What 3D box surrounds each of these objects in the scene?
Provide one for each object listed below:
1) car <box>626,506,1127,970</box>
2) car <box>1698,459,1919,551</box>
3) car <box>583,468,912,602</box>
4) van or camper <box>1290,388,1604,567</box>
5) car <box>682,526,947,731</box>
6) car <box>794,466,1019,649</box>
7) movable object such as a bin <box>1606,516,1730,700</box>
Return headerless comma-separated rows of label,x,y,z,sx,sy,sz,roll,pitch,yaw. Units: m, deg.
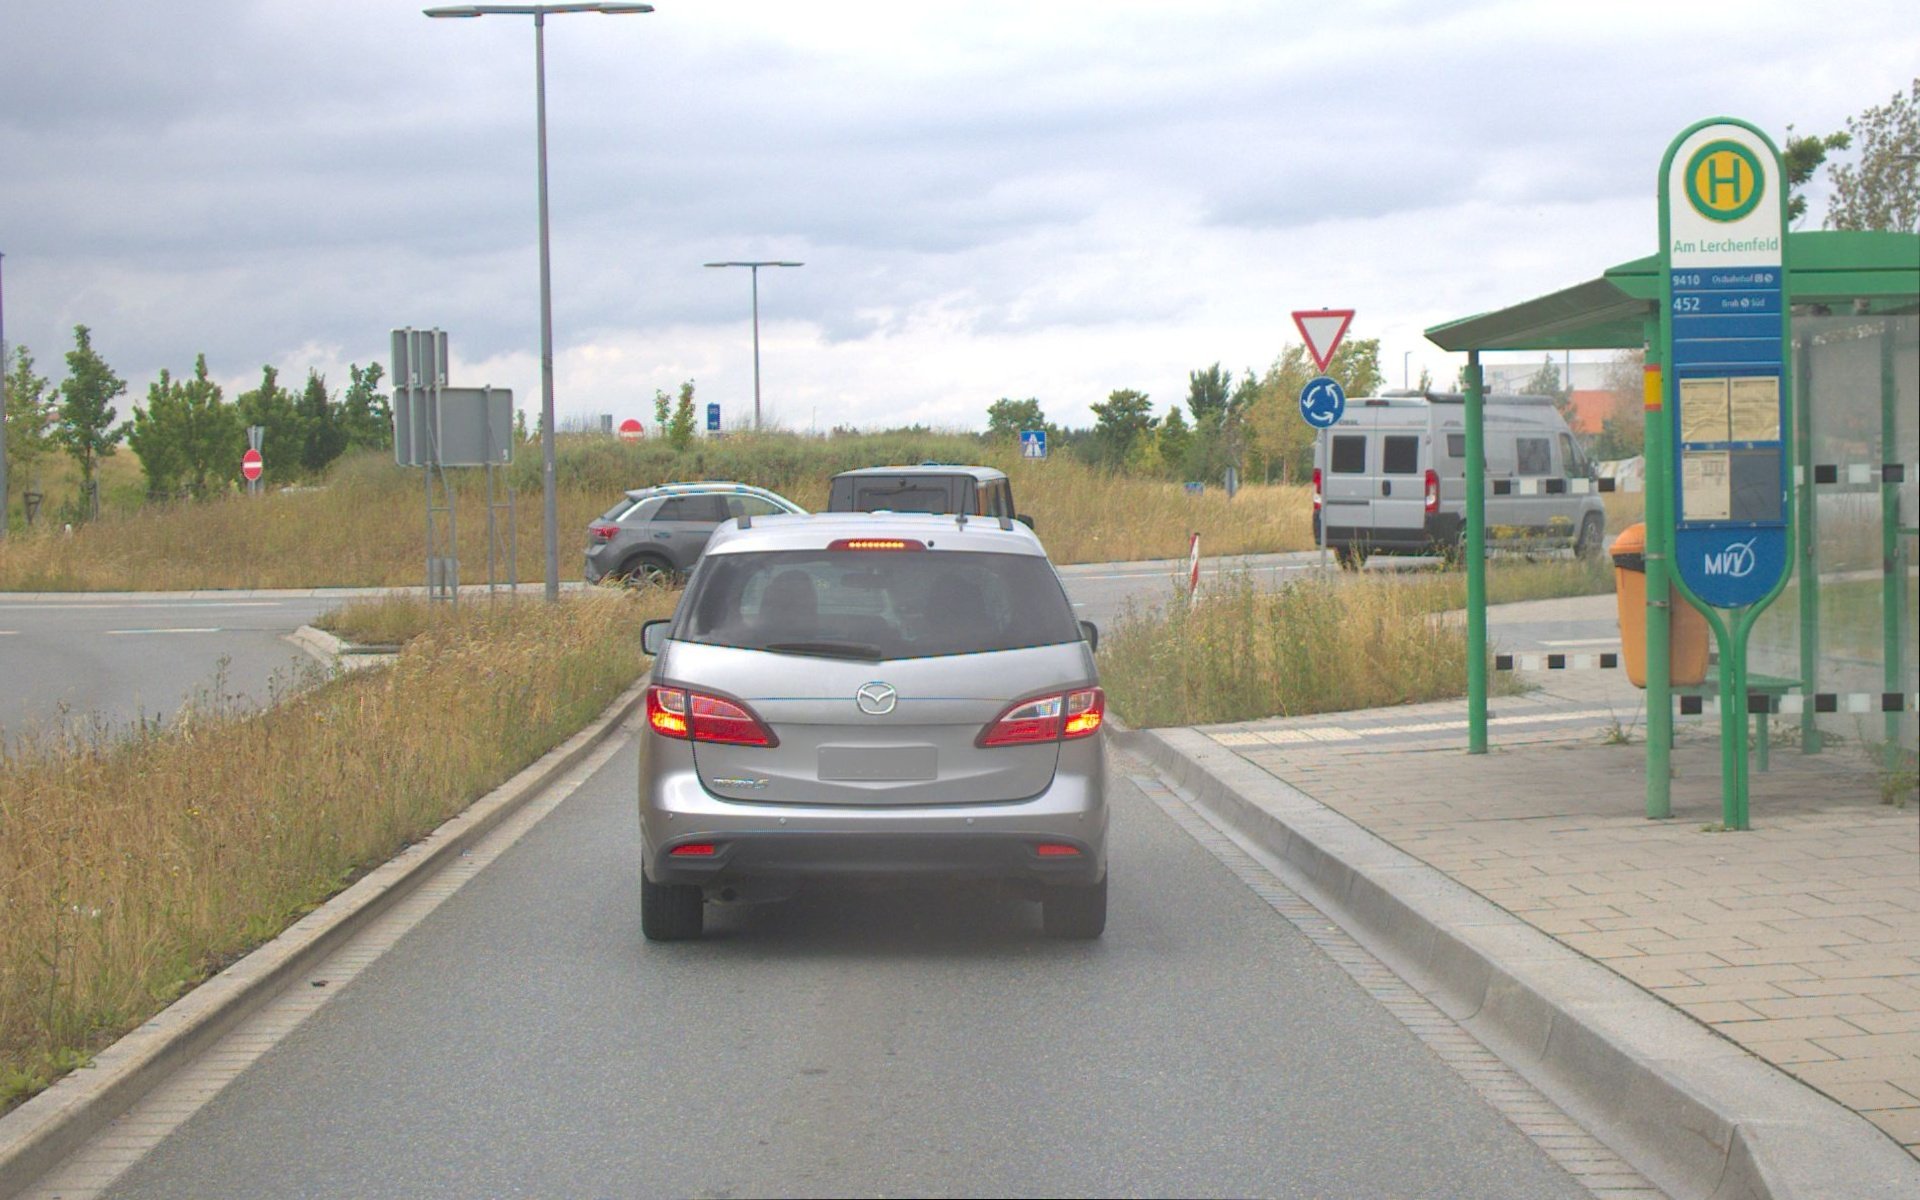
car,-0.368,0.430,13.822,1.729,1.594,3.808,0,2,-2
car,16.897,-1.857,67.559,4.604,1.751,1.999,0,1,10
car,-2.825,-0.876,45.441,4.189,1.587,2.065,-2,2,-5
van or camper,7.250,-1.791,50.743,2.308,2.497,5.194,1,2,38
car,-1.061,0.162,27.038,1.845,1.413,4.225,-1,2,0
car,-0.496,-0.480,36.849,2.058,1.819,4.786,0,1,3
movable object such as a bin,3.111,0.030,15.125,0.456,0.795,0.380,-1,1,-2
